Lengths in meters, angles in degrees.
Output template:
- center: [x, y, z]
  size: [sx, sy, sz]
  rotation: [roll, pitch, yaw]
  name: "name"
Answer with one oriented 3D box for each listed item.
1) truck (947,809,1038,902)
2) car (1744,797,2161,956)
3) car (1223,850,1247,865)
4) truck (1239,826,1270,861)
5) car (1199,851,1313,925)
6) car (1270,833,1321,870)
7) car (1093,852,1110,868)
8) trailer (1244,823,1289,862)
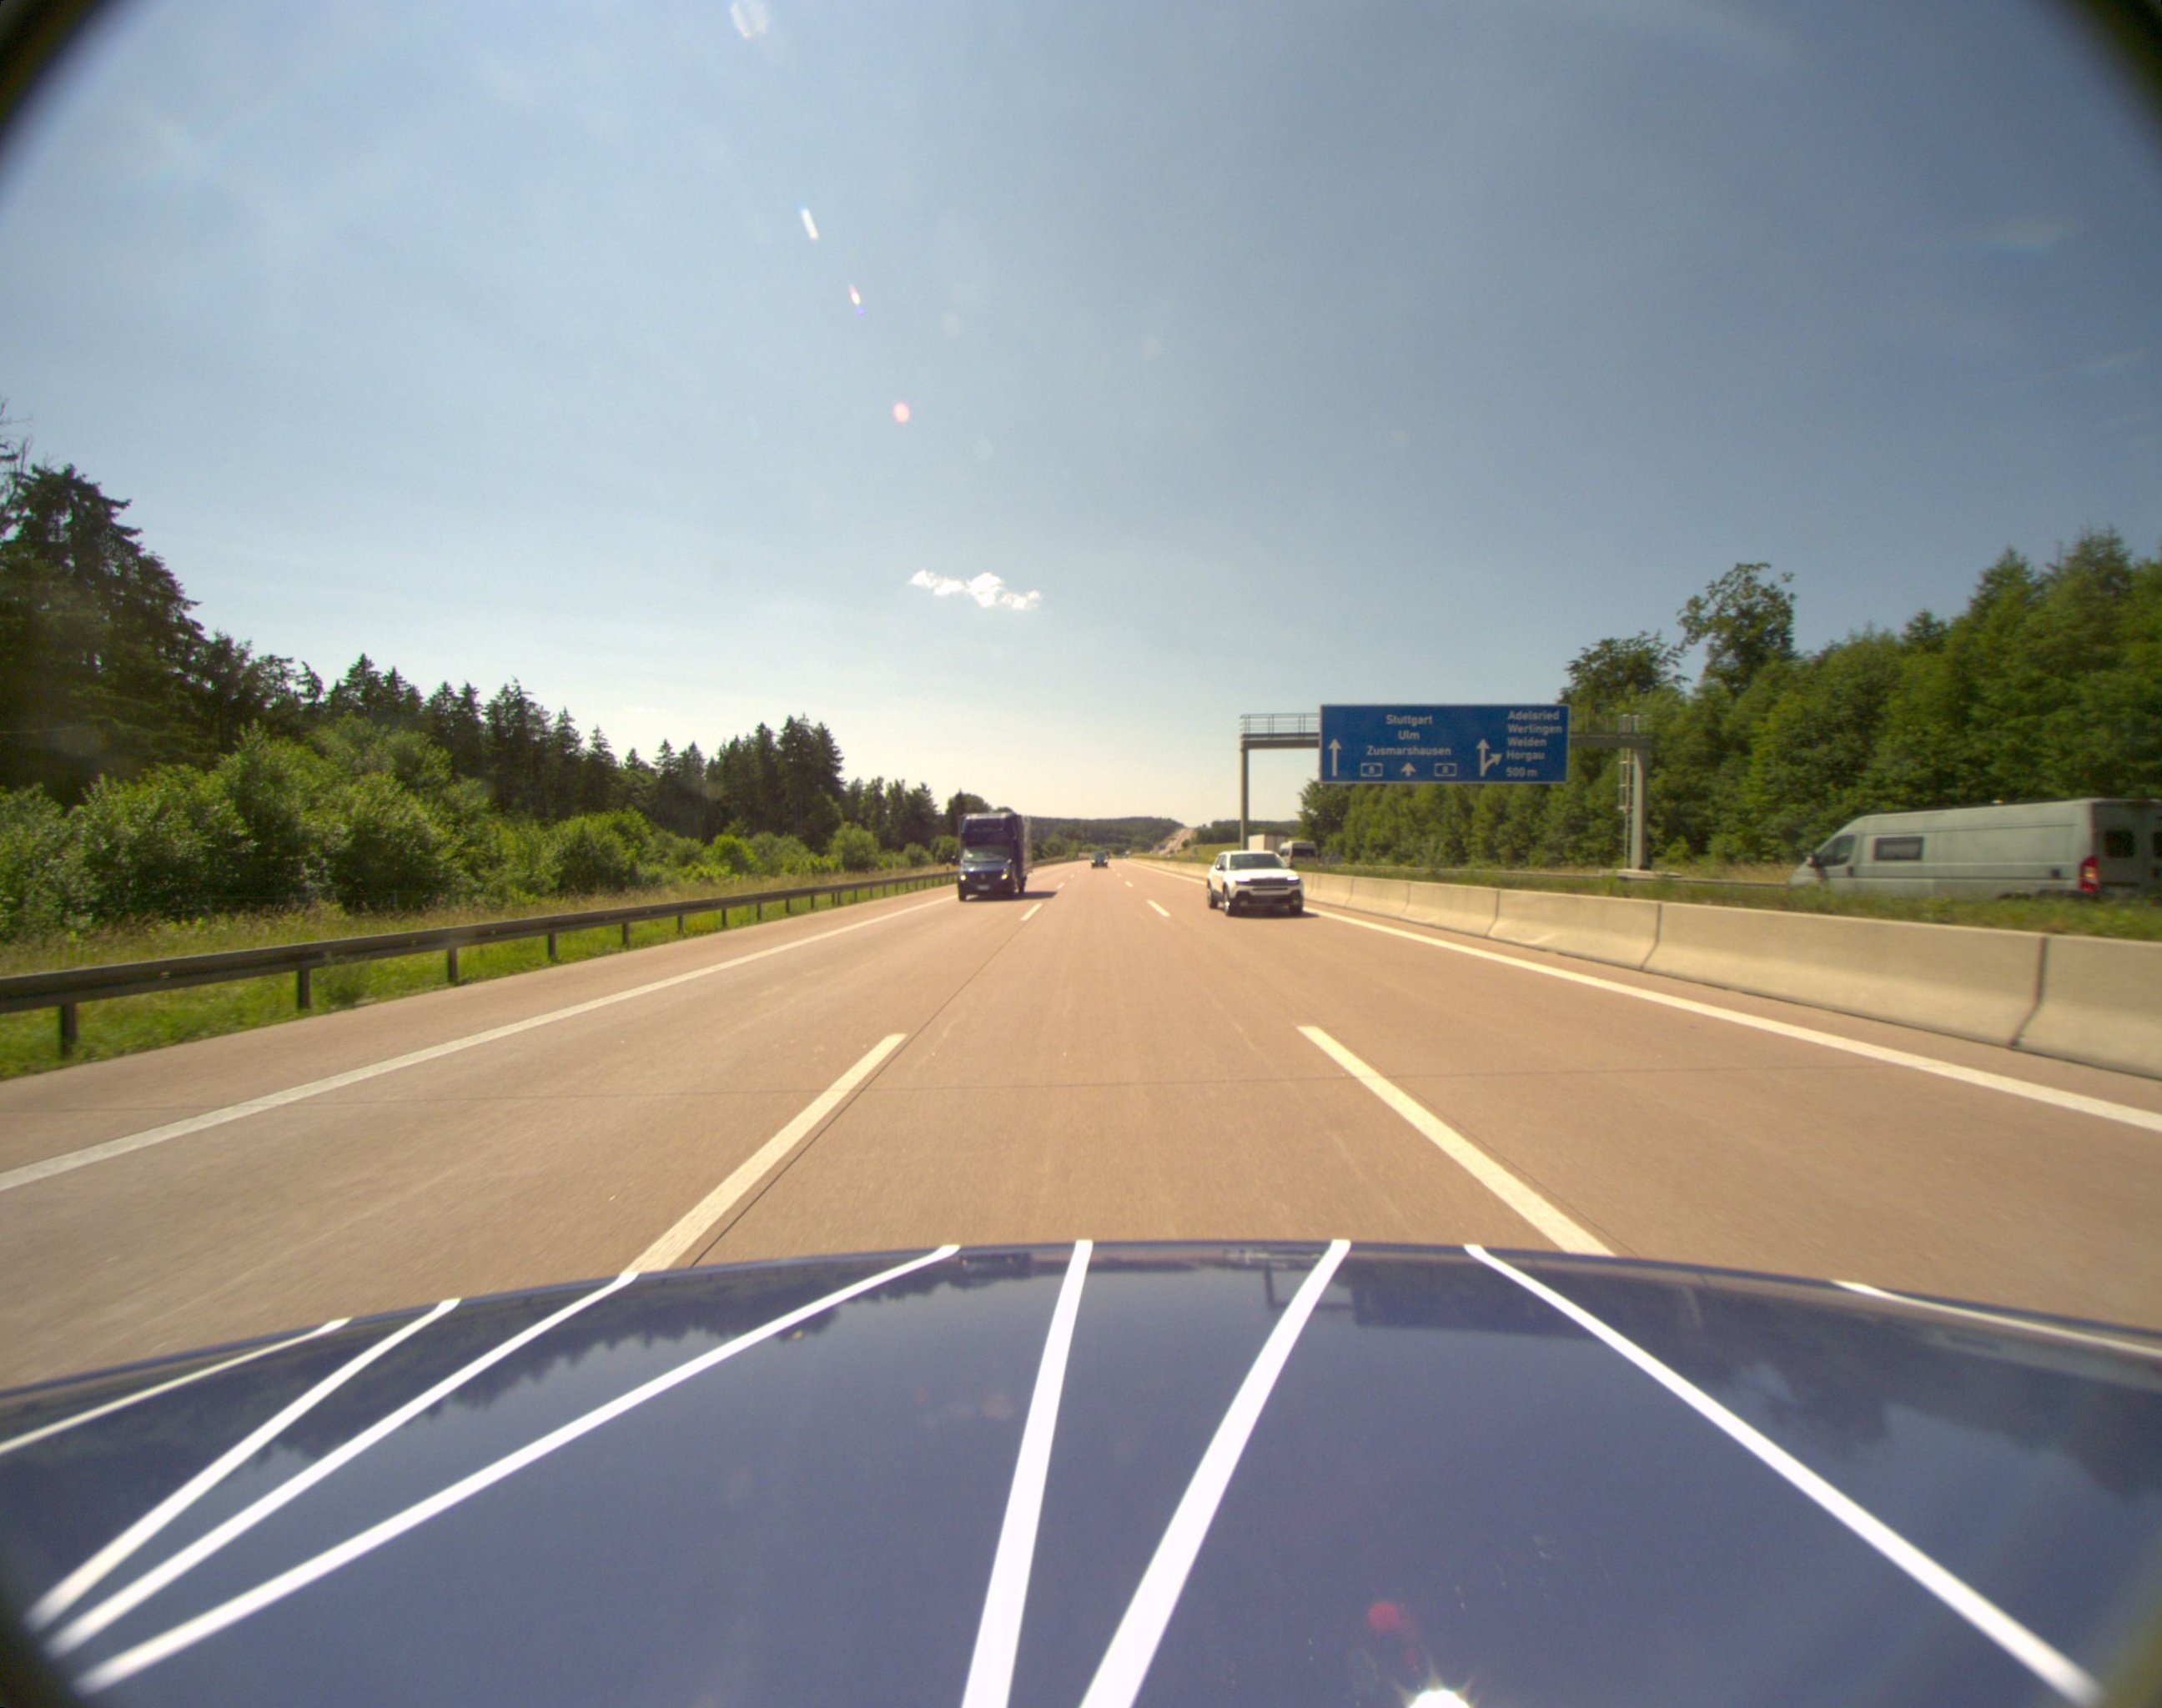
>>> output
- center: [-3.335, 0.033, 30.615]
  size: [2.508, 3.199, 7.784]
  rotation: [-1, 0, 1]
  name: "truck"
- center: [18.391, 0.366, 16.336]
  size: [2.238, 2.670, 6.887]
  rotation: [-2, 0, 0]
  name: "car"
- center: [17.451, 0.366, 86.081]
  size: [1.895, 1.645, 4.000]
  rotation: [-2, 0, 0]
  name: "car"
- center: [22.906, -1.353, 100.687]
  size: [2.709, 4.355, 6.478]
  rotation: [-1, 0, 2]
  name: "truck"
- center: [4.244, 0.738, 19.223]
  size: [1.883, 1.598, 4.834]
  rotation: [-1, 0, 2]
  name: "car"
- center: [16.567, -0.169, 59.157]
  size: [2.238, 2.670, 6.097]
  rotation: [-2, 0, 0]
  name: "car"
- center: [2.472, 0.660, 90.578]
  size: [1.998, 1.805, 4.565]
  rotation: [-2, 0, 2]
  name: "car"
- center: [22.611, -1.321, 93.431]
  size: [2.709, 4.408, 13.194]
  rotation: [-2, 0, 2]
  name: "trailer"
